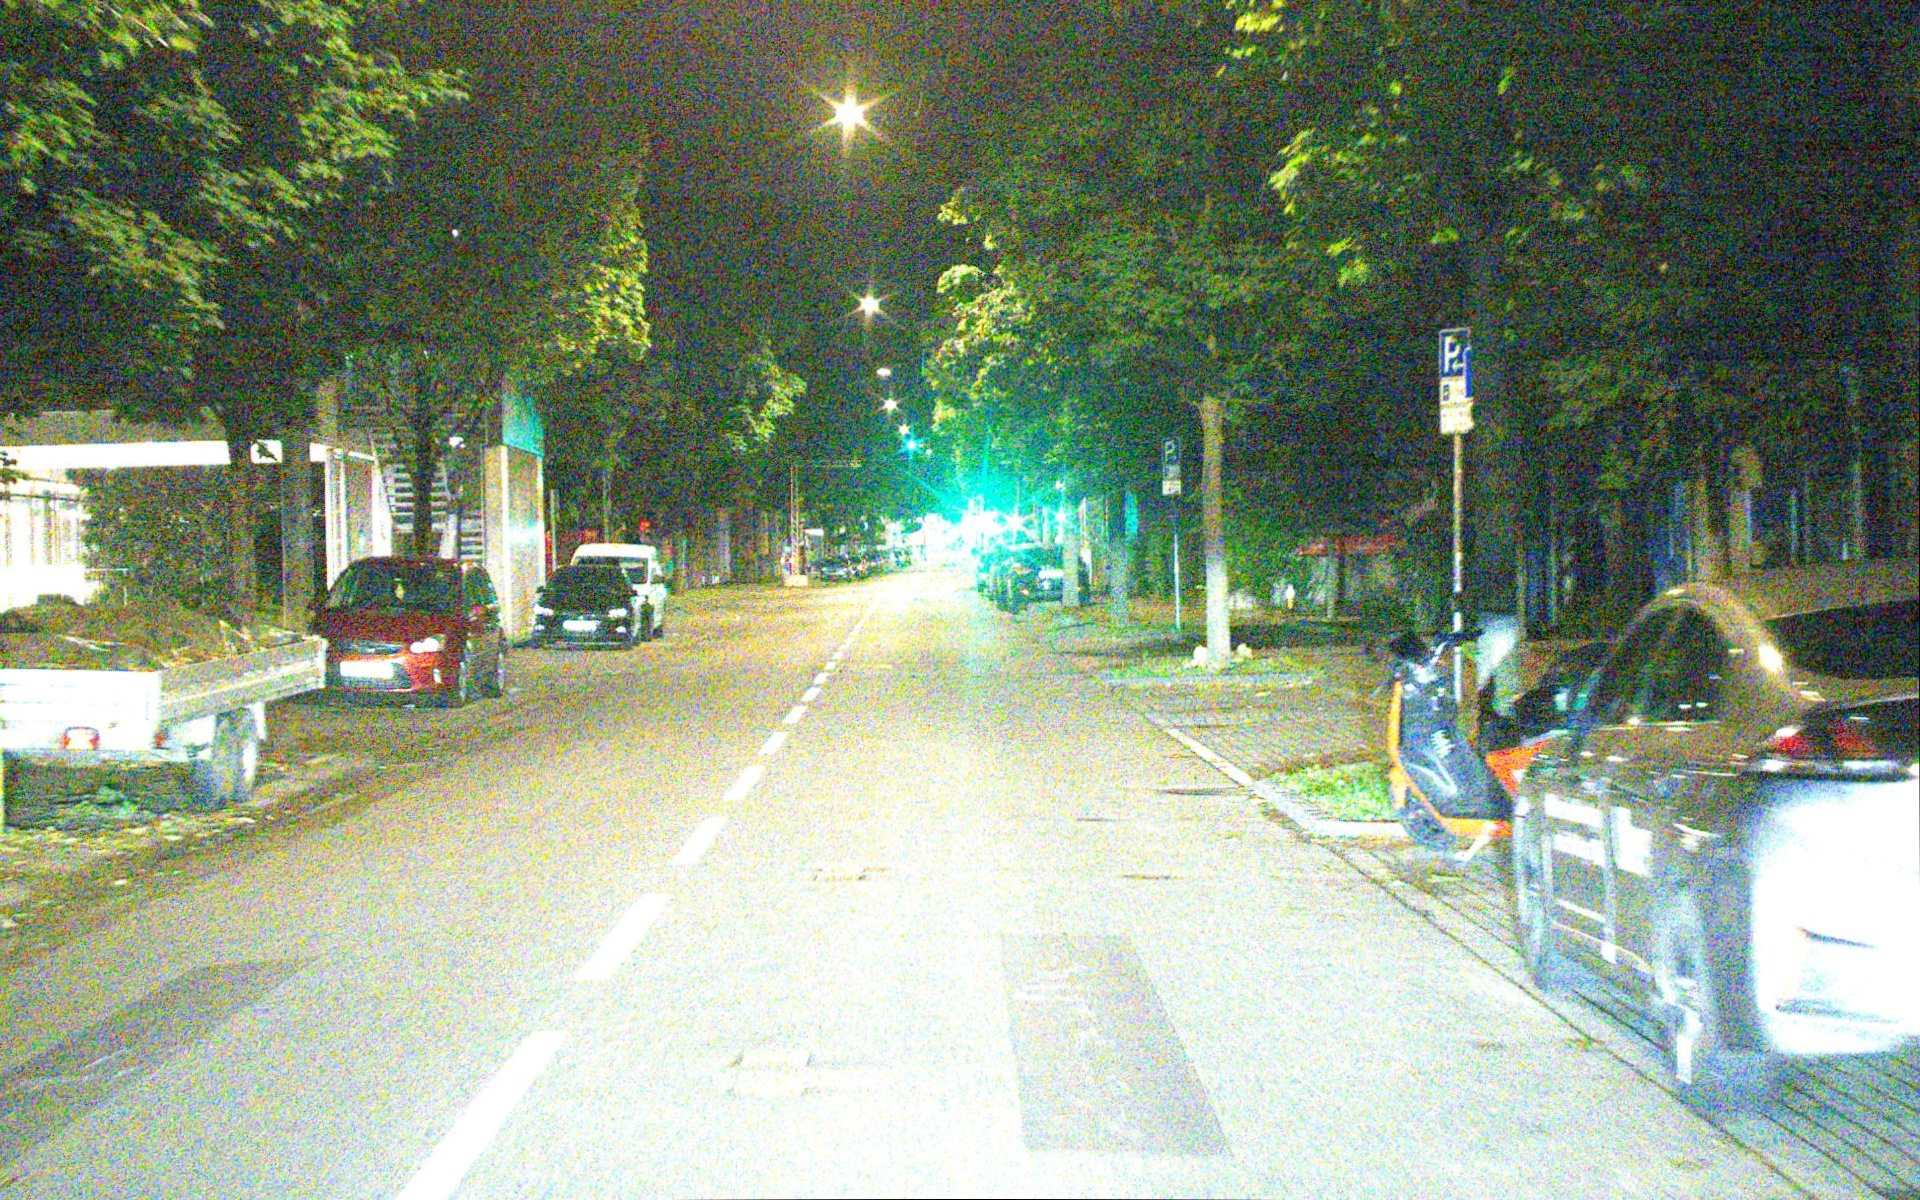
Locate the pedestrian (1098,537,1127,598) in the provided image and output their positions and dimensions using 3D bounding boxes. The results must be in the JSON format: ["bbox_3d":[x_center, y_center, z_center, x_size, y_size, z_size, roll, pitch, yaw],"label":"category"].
[{"bbox_3d":[4.390,-0.936,98.930,0.705,1.716,0.821,-2,1,0],"label":"pedestrian"}]

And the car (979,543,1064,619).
[{"bbox_3d":[1.425,-0.464,80.878,1.853,1.648,4.209,-3,1,0],"label":"car"}]

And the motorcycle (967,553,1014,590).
[{"bbox_3d":[1.089,-1.019,121.973,0.637,1.265,2.060,0,1,34],"label":"motorcycle"}]

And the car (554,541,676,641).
[{"bbox_3d":[-6.635,-0.199,66.517,1.822,1.805,4.210,2,1,1],"label":"car"}]

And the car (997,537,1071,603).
[{"bbox_3d":[2.155,-0.897,100.949,1.771,1.800,4.278,-3,1,-3],"label":"car"}]

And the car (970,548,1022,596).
[{"bbox_3d":[1.214,-0.969,118.292,1.591,1.529,4.138,-3,1,-1],"label":"car"}]

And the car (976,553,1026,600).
[{"bbox_3d":[1.292,-0.747,108.826,1.520,1.391,3.984,-2,1,0],"label":"car"}]

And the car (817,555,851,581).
[{"bbox_3d":[-6.923,-1.765,188.906,1.740,1.411,3.752,-1,1,0],"label":"car"}]

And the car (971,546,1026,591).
[{"bbox_3d":[1.387,-1.175,125.500,1.853,1.585,4.301,-1,1,-1],"label":"car"}]

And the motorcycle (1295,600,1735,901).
[{"bbox_3d":[2.586,0.662,16.331,0.926,1.279,2.235,-3,1,-25],"label":"motorcycle"}]

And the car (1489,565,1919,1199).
[{"bbox_3d":[2.722,0.659,10.317,1.668,1.424,4.148,-3,1,2],"label":"car"}]

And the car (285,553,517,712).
[{"bbox_3d":[-6.140,0.313,38.177,1.822,1.593,4.073,2,1,1],"label":"car"}]

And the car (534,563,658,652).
[{"bbox_3d":[-6.327,0.106,60.077,1.700,1.428,3.828,2,1,0],"label":"car"}]

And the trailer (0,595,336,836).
[{"bbox_3d":[-5.835,0.690,23.390,2.110,1.330,5.435,1,1,1],"label":"trailer"}]
